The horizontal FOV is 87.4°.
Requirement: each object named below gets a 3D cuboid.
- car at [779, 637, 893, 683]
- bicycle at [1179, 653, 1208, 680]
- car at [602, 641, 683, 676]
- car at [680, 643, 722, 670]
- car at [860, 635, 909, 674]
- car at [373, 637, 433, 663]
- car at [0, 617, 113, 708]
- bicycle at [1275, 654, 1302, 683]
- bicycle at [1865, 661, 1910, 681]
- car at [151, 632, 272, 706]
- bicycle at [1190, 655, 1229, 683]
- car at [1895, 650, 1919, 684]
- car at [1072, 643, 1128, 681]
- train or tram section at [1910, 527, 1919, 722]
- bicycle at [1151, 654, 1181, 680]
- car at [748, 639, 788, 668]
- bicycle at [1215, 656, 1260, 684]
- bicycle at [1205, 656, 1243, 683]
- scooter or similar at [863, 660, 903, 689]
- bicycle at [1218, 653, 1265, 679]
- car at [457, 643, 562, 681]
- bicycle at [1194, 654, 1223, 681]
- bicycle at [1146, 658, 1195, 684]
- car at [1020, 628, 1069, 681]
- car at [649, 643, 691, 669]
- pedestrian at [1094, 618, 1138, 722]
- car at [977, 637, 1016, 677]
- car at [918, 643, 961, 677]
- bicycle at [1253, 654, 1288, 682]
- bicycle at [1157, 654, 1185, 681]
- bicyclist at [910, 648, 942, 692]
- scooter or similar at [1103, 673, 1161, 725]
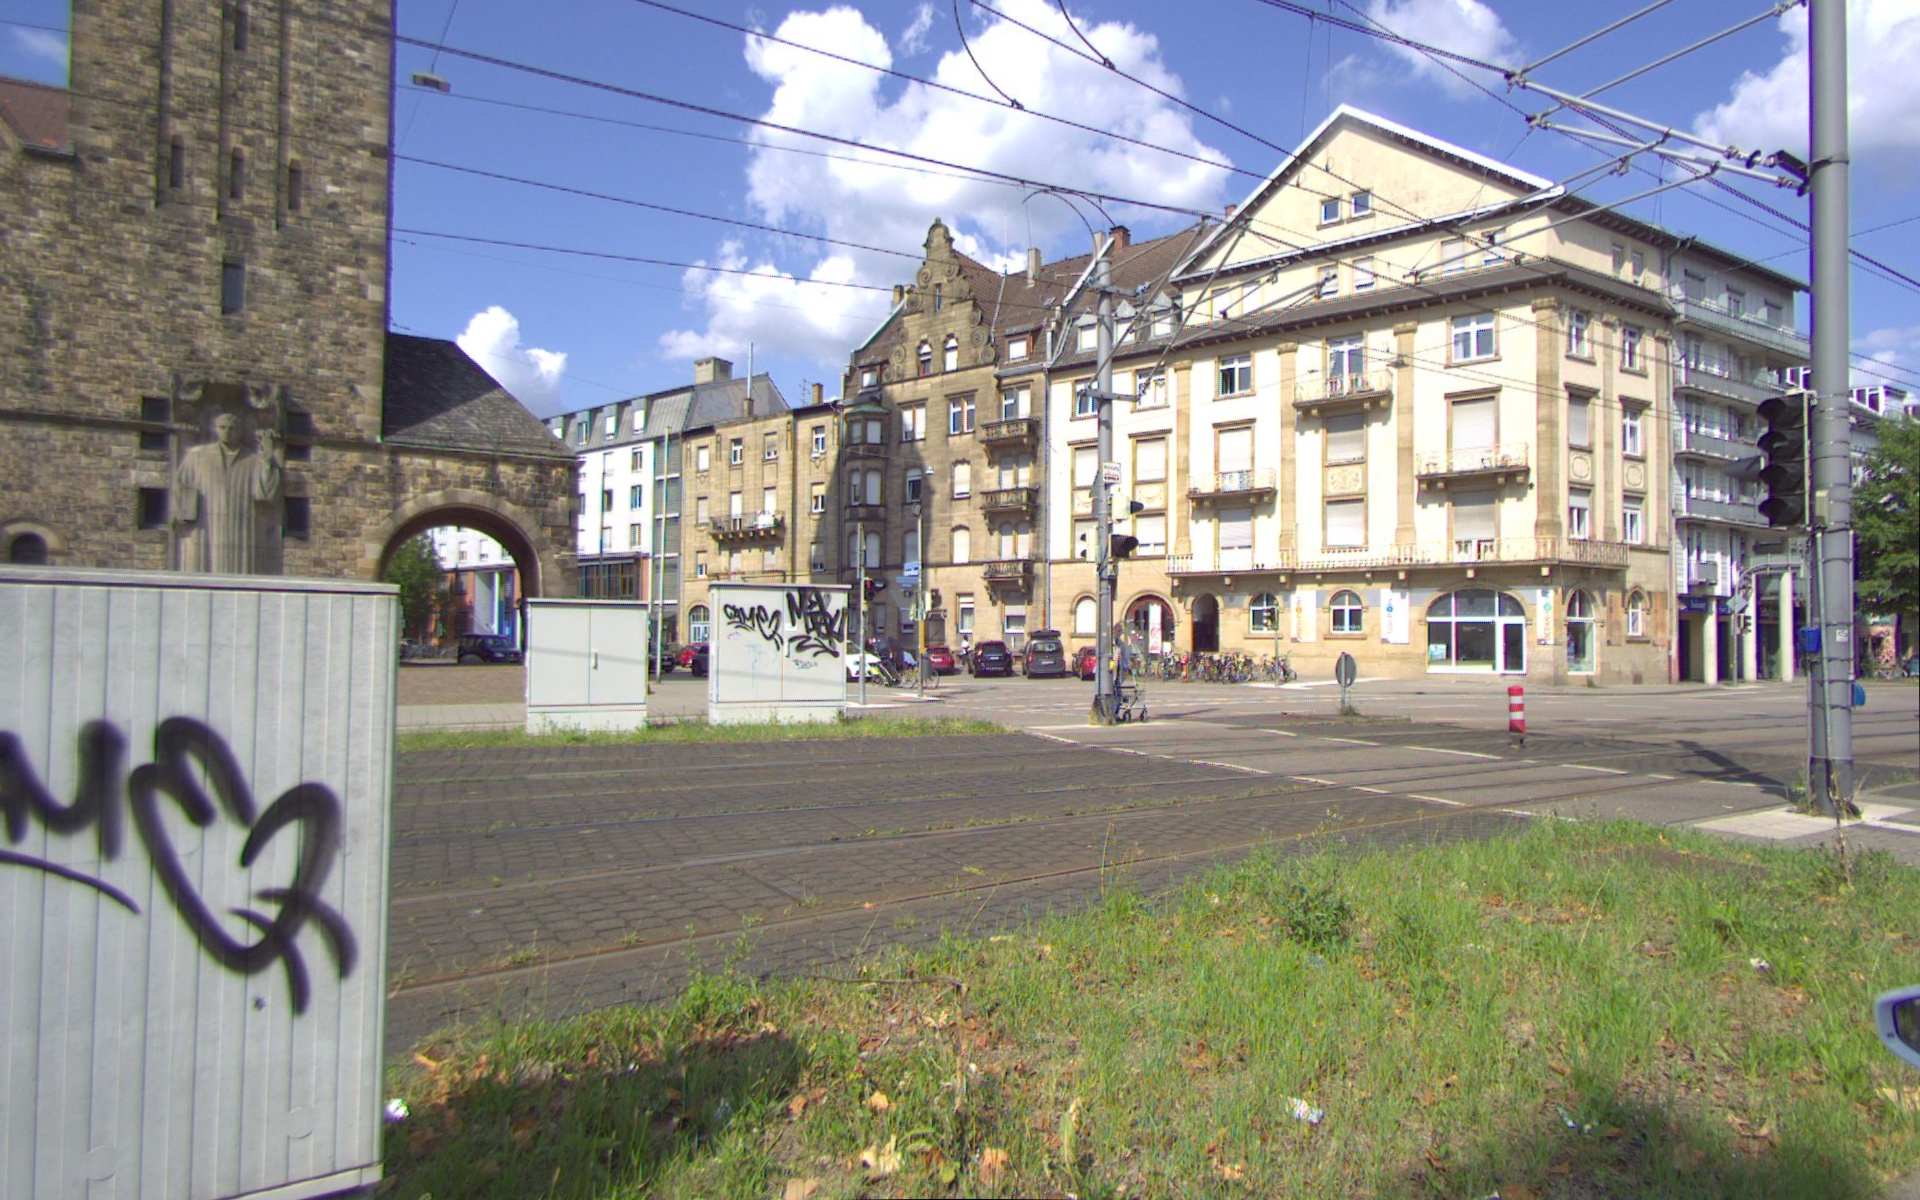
[{"bbox_3d":[-5.099,2.392,40.976,4.587,1.762,1.809,-1,-3,35],"label":"car"},{"bbox_3d":[10.087,2.871,43.427,0.531,1.032,1.922,-1,0,35],"label":"bicycle"},{"bbox_3d":[-15.497,2.814,48.969,4.005,1.617,1.698,-1,-3,35],"label":"car"},{"bbox_3d":[-15.650,3.398,60.852,1.574,1.415,3.573,-1,0,0],"label":"car"},{"bbox_3d":[-3.908,2.802,52.327,1.878,1.849,4.002,-1,0,5],"label":"car"},{"bbox_3d":[-35.509,3.177,64.019,4.005,1.617,1.790,-1,-3,35],"label":"car"},{"bbox_3d":[-20.428,1.352,22.265,1.842,1.847,3.982,2,-3,-31],"label":"car"},{"bbox_3d":[13.363,2.768,40.828,0.599,1.032,1.872,-1,-1,32],"label":"bicycle"},{"bbox_3d":[48.731,3.728,52.793,0.492,0.999,1.680,2,-3,-31],"label":"bicycle"},{"bbox_3d":[-17.299,1.549,23.390,1.777,1.567,3.749,2,-3,-30],"label":"car"},{"bbox_3d":[10.368,2.853,41.715,1.913,1.032,0.534,-1,0,-41],"label":"bicycle"},{"bbox_3d":[54.924,3.821,56.882,3.953,1.813,1.838,2,0,-30],"label":"car"},{"bbox_3d":[6.174,2.734,44.642,1.929,1.460,4.000,-1,-1,0],"label":"car"},{"bbox_3d":[23.393,0.547,20.076,11.230,3.607,2.786,2,-3,-27],"label":"train or tram section"},{"bbox_3d":[9.003,2.912,43.846,0.531,1.032,1.922,-1,0,35],"label":"bicycle"},{"bbox_3d":[-10.944,3.012,57.387,1.574,1.475,3.776,-1,0,0],"label":"car"},{"bbox_3d":[11.276,2.813,40.761,1.853,1.032,0.598,0,0,-28],"label":"bicycle"},{"bbox_3d":[10.896,2.855,41.442,1.913,1.032,0.534,0,-1,-41],"label":"bicycle"},{"bbox_3d":[-2.798,2.691,36.461,1.111,0.990,0.889,-1,-3,32],"label":"scooter or similar"},{"bbox_3d":[11.966,2.811,42.726,1.899,1.032,0.538,-1,0,40],"label":"bicycle"},{"bbox_3d":[-20.867,2.862,46.653,3.892,1.674,2.034,0,-2,3],"label":"car"},{"bbox_3d":[10.651,2.877,43.046,0.531,1.032,1.922,-1,0,35],"label":"bicycle"},{"bbox_3d":[8.640,2.907,41.161,1.891,1.032,0.540,-1,0,20],"label":"bicycle"},{"bbox_3d":[3.870,2.473,46.713,1.929,2.111,3.999,-1,2,0],"label":"car"},{"bbox_3d":[-17.898,3.427,62.159,1.574,1.415,3.573,-1,0,0],"label":"car"},{"bbox_3d":[2.702,1.205,17.411,0.551,1.755,0.523,2,-3,-34],"label":"pedestrian"},{"bbox_3d":[1.703,2.679,48.196,1.677,1.690,4.000,-1,0,0],"label":"car"},{"bbox_3d":[-1.077,2.958,50.317,1.880,1.463,3.997,-1,0,-5],"label":"car"},{"bbox_3d":[12.782,2.781,41.346,0.602,1.032,1.865,-1,-1,44],"label":"bicycle"},{"bbox_3d":[8.984,2.866,42.759,0.531,1.032,1.924,-1,0,31],"label":"bicycle"},{"bbox_3d":[-1.212,2.476,35.592,0.906,1.523,0.651,-1,-3,32],"label":"bicyclist"},{"bbox_3d":[2.917,1.667,17.054,0.548,0.814,0.833,2,-3,-33],"label":"scooter or similar"}]
